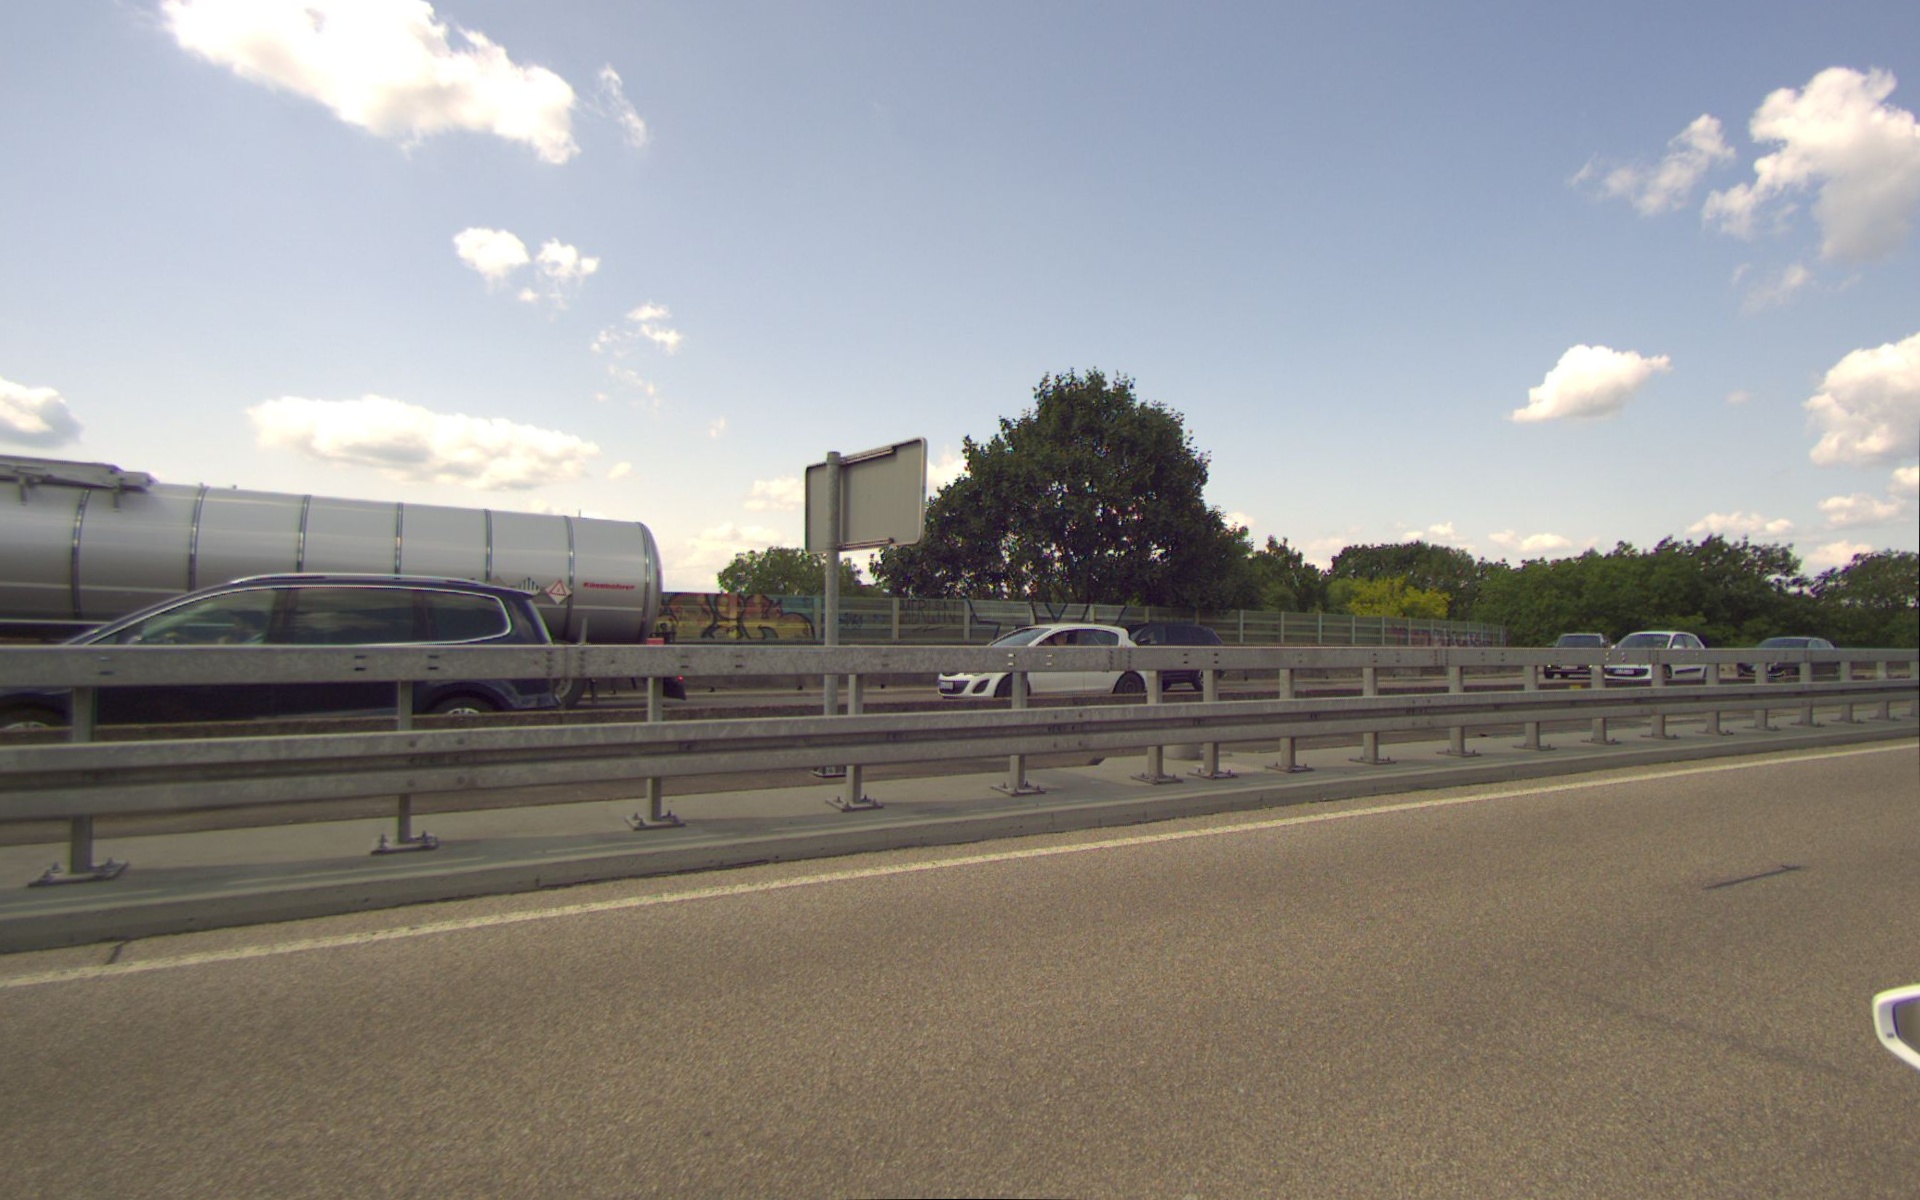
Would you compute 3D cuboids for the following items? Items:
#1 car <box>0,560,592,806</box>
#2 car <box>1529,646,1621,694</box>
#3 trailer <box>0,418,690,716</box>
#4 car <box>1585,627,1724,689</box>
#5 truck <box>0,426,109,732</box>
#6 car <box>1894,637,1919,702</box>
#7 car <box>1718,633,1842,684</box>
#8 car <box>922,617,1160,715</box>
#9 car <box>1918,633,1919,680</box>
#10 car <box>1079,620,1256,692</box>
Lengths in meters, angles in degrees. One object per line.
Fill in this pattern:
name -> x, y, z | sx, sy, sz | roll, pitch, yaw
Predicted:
car -> -5.884, 0.641, 9.017 | 4.543, 1.773, 1.984 | 2, 0, -30
car -> 22.755, 2.532, 37.098 | 4.254, 1.595, 1.905 | 2, -1, -44
trailer -> -9.983, -0.326, 15.417 | 10.907, 3.718, 2.670 | 2, 0, -32
car -> 20.173, 1.660, 29.161 | 3.843, 1.595, 1.914 | 2, 0, -31
truck -> -14.842, -0.355, 12.399 | 6.163, 3.832, 2.634 | 2, 0, -32
car -> 30.160, 2.134, 30.189 | 4.191, 1.881, 1.983 | 2, 0, -31
car -> 27.418, 1.944, 33.575 | 4.197, 1.594, 1.914 | 2, -2, -31
car -> 1.476, 1.147, 17.970 | 3.913, 1.529, 1.774 | 2, 0, -30
car -> 41.665, 2.322, 41.401 | 5.134, 1.951, 1.949 | 1, 1, -33
car -> 5.120, 1.366, 24.670 | 4.232, 1.640, 1.707 | 2, -3, -31
